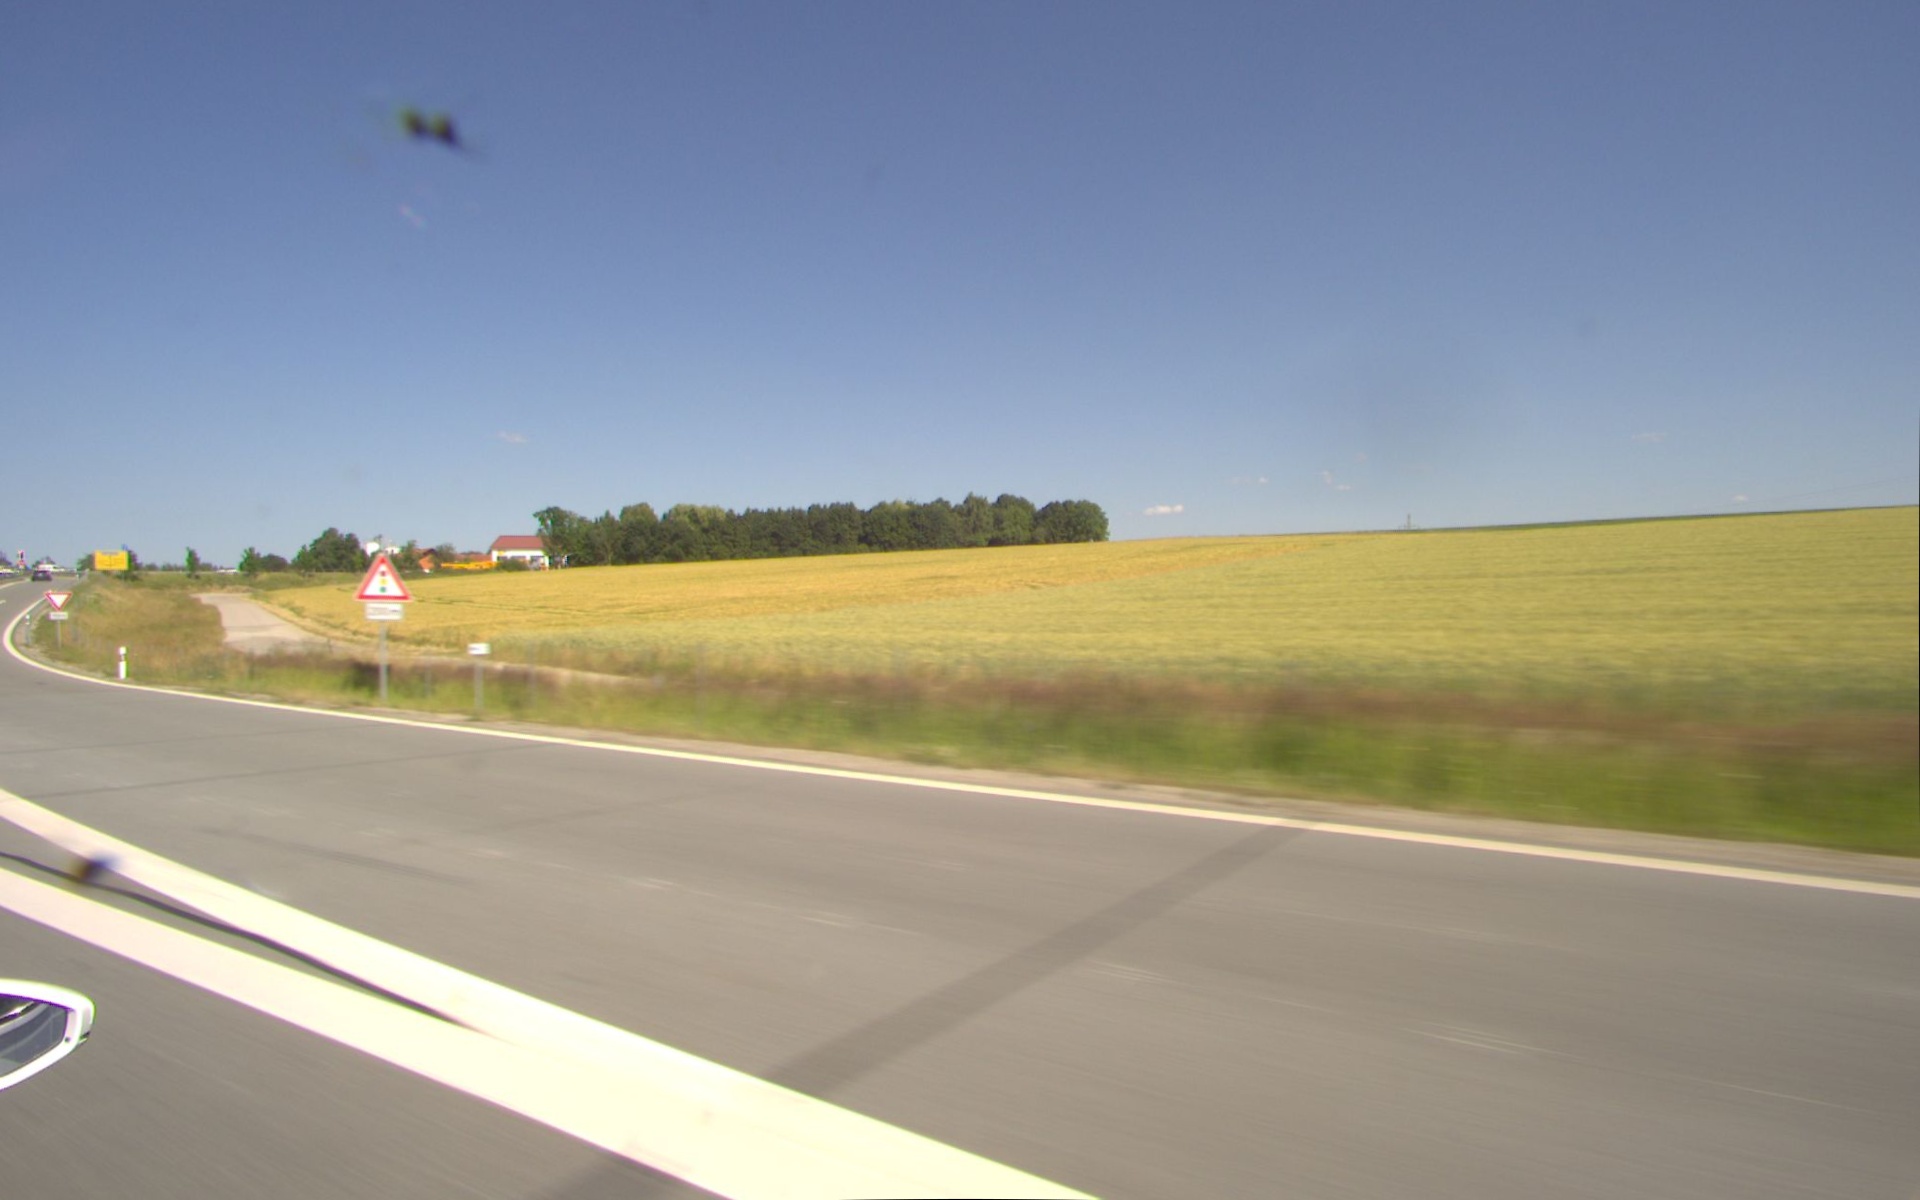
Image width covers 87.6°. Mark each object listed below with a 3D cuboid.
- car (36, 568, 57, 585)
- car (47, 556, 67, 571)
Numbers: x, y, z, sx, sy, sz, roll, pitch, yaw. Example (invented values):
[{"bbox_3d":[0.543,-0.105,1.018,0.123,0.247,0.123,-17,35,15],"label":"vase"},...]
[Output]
[{"bbox_3d":[-122.351,-3.147,134.168,1.978,2.040,3.964,-2,1,-41],"label":"car"},{"bbox_3d":[-126.661,-5.104,140.539,1.978,2.040,3.964,-2,0,-41],"label":"car"}]
